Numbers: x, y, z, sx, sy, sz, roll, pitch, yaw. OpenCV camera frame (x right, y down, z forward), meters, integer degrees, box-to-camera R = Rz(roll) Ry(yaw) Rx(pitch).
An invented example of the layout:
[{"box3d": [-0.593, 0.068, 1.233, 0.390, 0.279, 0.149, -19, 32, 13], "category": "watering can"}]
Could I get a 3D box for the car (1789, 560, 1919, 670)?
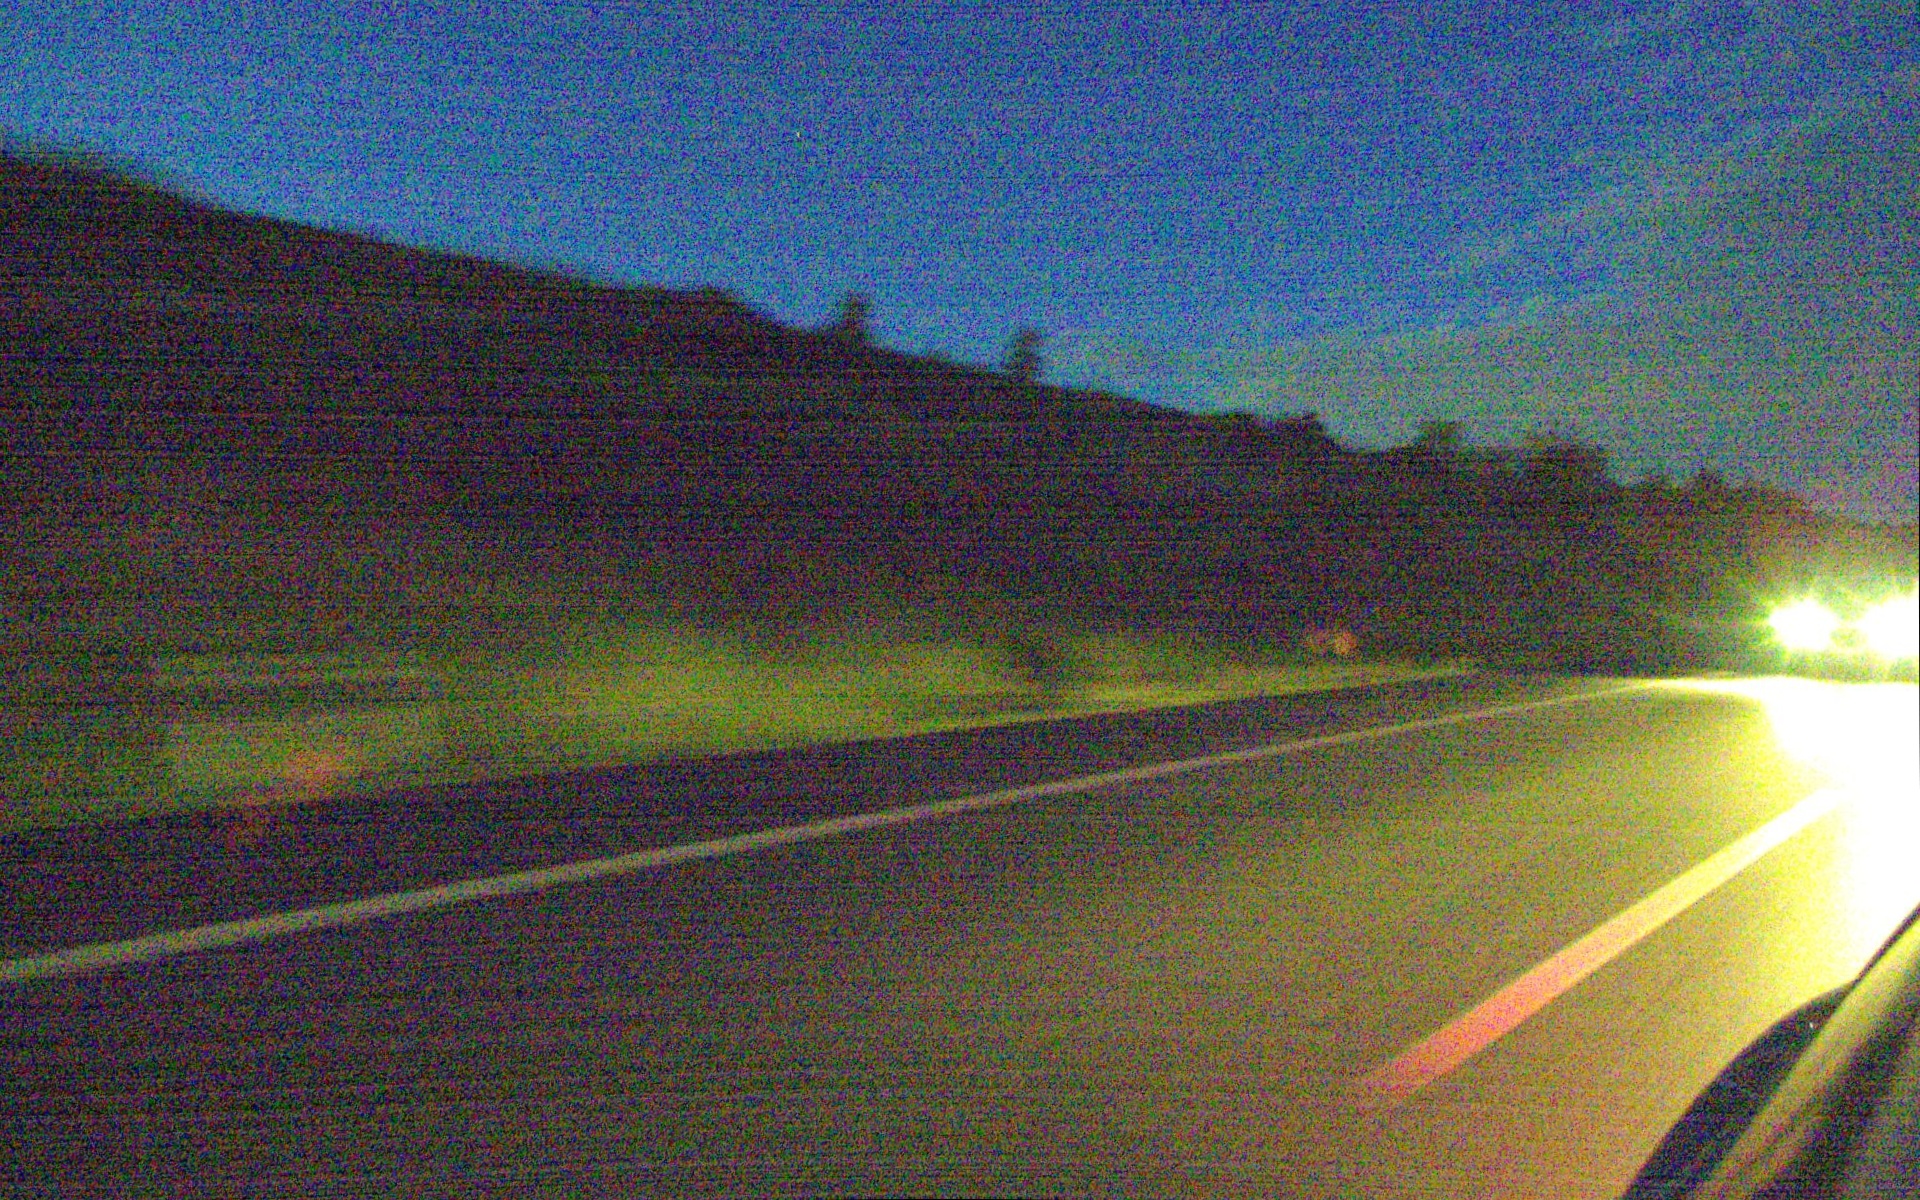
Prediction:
[{"box3d": [19.140, 0.250, 21.050, 5.566, 2.026, 2.119, 0, 1, -42], "category": "car"}]
